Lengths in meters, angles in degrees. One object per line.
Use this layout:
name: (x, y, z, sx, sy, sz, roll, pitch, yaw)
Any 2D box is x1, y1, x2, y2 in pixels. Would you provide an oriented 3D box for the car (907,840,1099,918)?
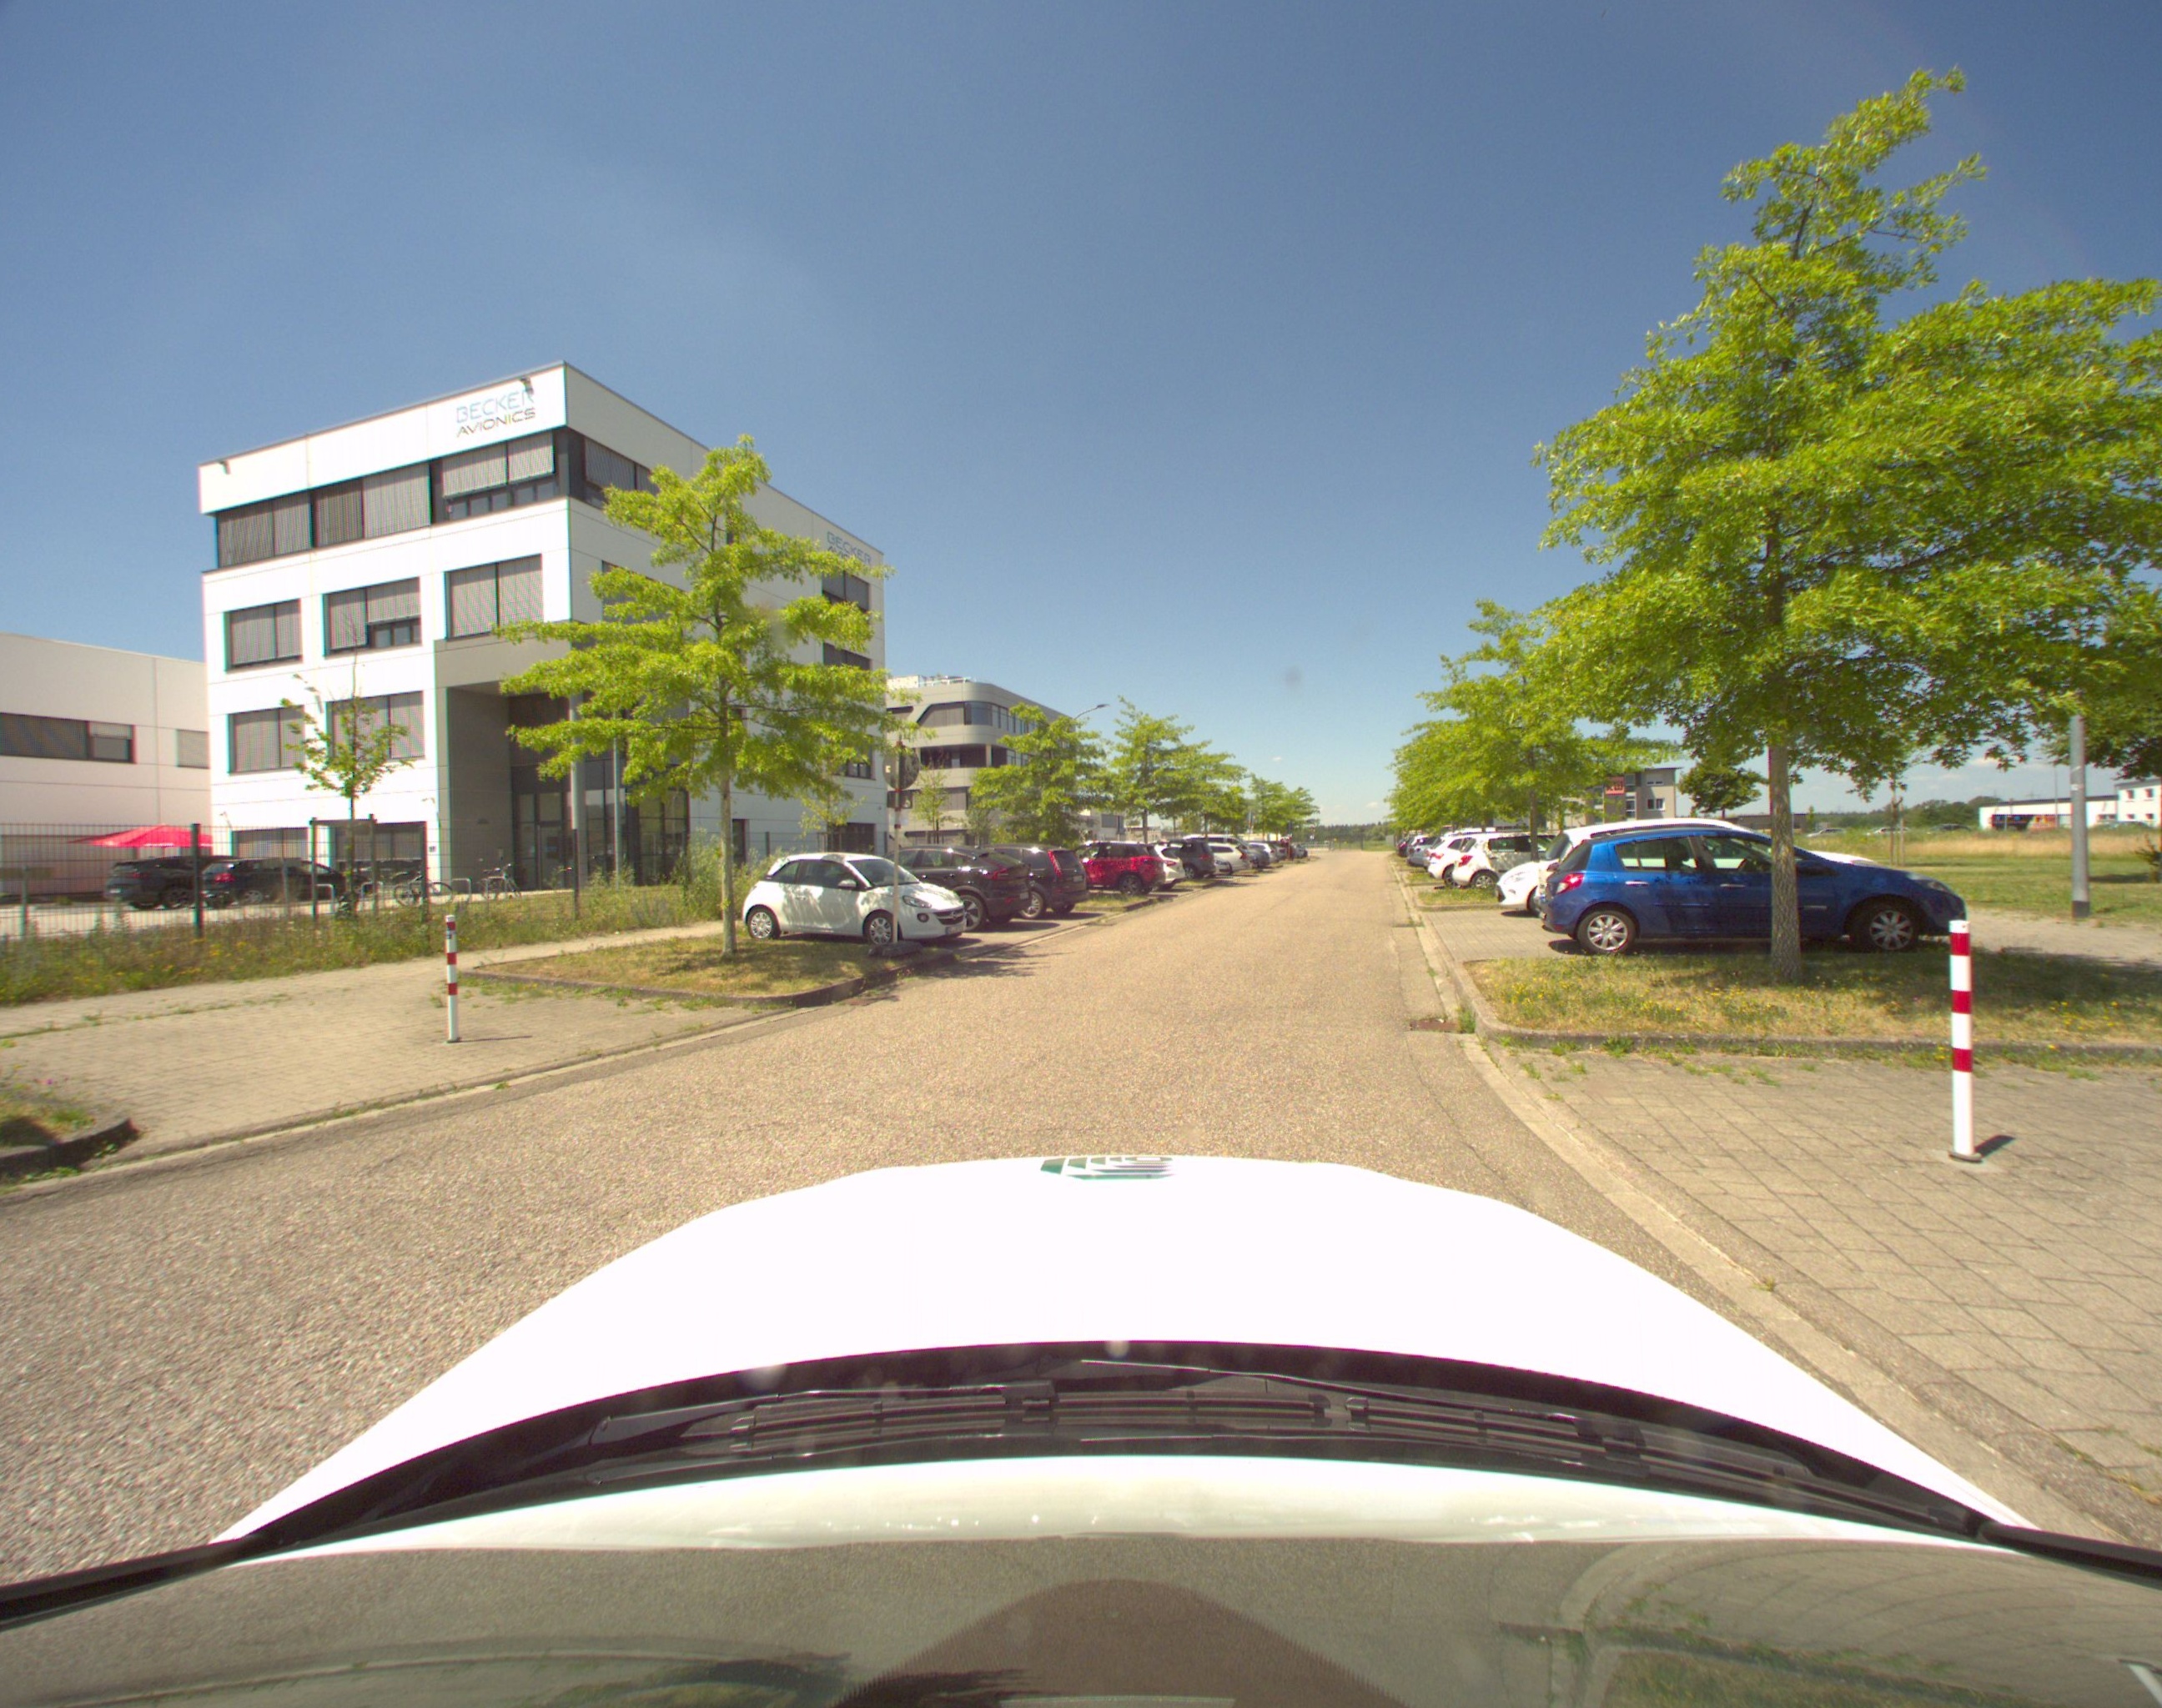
car: (-1.720, 0.498, 18.236, 3.874, 1.591, 1.736, 0, 1, 19)

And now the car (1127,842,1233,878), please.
car: (4.270, 0.232, 35.057, 4.277, 1.473, 1.736, 0, 1, 17)

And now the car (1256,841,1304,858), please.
car: (17.619, -0.434, 71.977, 4.044, 1.424, 1.882, 1, 1, 16)

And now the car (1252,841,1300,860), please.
car: (15.669, -0.312, 65.359, 3.628, 1.508, 1.739, 0, 1, 16)

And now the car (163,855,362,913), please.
car: (-25.578, 0.885, 25.649, 1.761, 1.602, 4.020, -2, 1, 19)

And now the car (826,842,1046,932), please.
car: (-2.797, 0.565, 15.968, 3.808, 1.593, 1.838, 0, 1, 16)

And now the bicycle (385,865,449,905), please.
bicycle: (-17.180, 0.797, 21.079, 1.579, 0.982, 0.464, -2, 0, 18)

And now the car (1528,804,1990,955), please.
car: (7.865, 0.336, 9.985, 3.960, 1.490, 1.737, -4, 0, 24)

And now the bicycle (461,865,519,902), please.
bicycle: (-16.645, 0.836, 22.936, 1.579, 0.982, 0.464, -2, 0, 18)

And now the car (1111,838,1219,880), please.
car: (3.436, 0.158, 33.123, 4.084, 1.634, 1.736, 0, 1, 19)

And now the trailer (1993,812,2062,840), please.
trailer: (95.752, -2.825, 82.441, 3.954, 2.600, 2.244, -2, 0, 18)

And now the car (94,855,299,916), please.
car: (-28.187, 0.950, 26.137, 1.761, 1.684, 4.020, -2, 1, 19)

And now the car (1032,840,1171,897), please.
car: (0.624, 0.380, 24.386, 3.808, 1.591, 1.736, 0, 1, 17)

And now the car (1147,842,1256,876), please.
car: (5.520, 0.206, 37.265, 4.676, 1.447, 1.866, 0, 1, 17)

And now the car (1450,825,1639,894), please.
car: (11.405, 0.138, 20.337, 3.802, 1.524, 1.788, -2, 0, 20)

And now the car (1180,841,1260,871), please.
car: (7.434, 0.096, 43.488, 3.935, 1.484, 1.773, 1, 1, 20)

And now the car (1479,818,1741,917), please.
car: (9.393, 0.242, 14.767, 3.590, 1.463, 1.618, -4, 0, 15)

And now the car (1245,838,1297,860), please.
car: (14.682, -0.403, 62.919, 3.706, 1.621, 1.826, 0, 1, 20)

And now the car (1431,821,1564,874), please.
car: (14.793, -0.214, 29.152, 4.012, 1.625, 1.702, -3, 0, 20)

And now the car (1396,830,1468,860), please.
car: (23.013, -0.605, 53.537, 4.139, 1.696, 1.791, -3, 0, 19)

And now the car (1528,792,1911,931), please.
car: (9.037, 0.145, 12.021, 4.072, 1.650, 1.784, -4, 0, 25)

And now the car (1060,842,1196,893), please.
car: (1.561, 0.393, 26.988, 4.136, 1.513, 1.817, 1, 2, 21)

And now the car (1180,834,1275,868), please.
car: (8.400, -0.186, 46.584, 5.026, 1.891, 2.008, 0, 1, 21)

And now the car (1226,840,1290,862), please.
car: (12.368, -0.222, 56.917, 4.158, 1.480, 1.721, 1, 1, 20)

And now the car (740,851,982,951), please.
car: (-3.617, 0.696, 13.509, 3.476, 1.441, 1.736, 0, 1, 19)

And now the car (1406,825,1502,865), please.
car: (19.430, -0.461, 42.627, 4.365, 1.830, 1.805, -3, -1, 21)

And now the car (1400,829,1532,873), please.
car: (15.980, -0.113, 34.031, 4.680, 1.561, 1.922, -3, 0, 16)

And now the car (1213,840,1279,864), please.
car: (10.564, -0.147, 52.195, 4.006, 1.460, 1.612, 1, 1, 17)

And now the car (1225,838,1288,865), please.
car: (11.759, -0.180, 54.518, 3.958, 1.678, 1.784, 1, 1, 15)

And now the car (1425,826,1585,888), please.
car: (11.787, 0.078, 22.855, 3.799, 1.553, 1.790, -2, 1, 25)

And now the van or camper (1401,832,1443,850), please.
van or camper: (43.575, -1.687, 104.170, 4.895, 2.164, 2.009, -1, -2, 19)

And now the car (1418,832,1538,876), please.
car: (15.300, 0.007, 31.608, 4.012, 1.453, 1.654, -3, 0, 20)
